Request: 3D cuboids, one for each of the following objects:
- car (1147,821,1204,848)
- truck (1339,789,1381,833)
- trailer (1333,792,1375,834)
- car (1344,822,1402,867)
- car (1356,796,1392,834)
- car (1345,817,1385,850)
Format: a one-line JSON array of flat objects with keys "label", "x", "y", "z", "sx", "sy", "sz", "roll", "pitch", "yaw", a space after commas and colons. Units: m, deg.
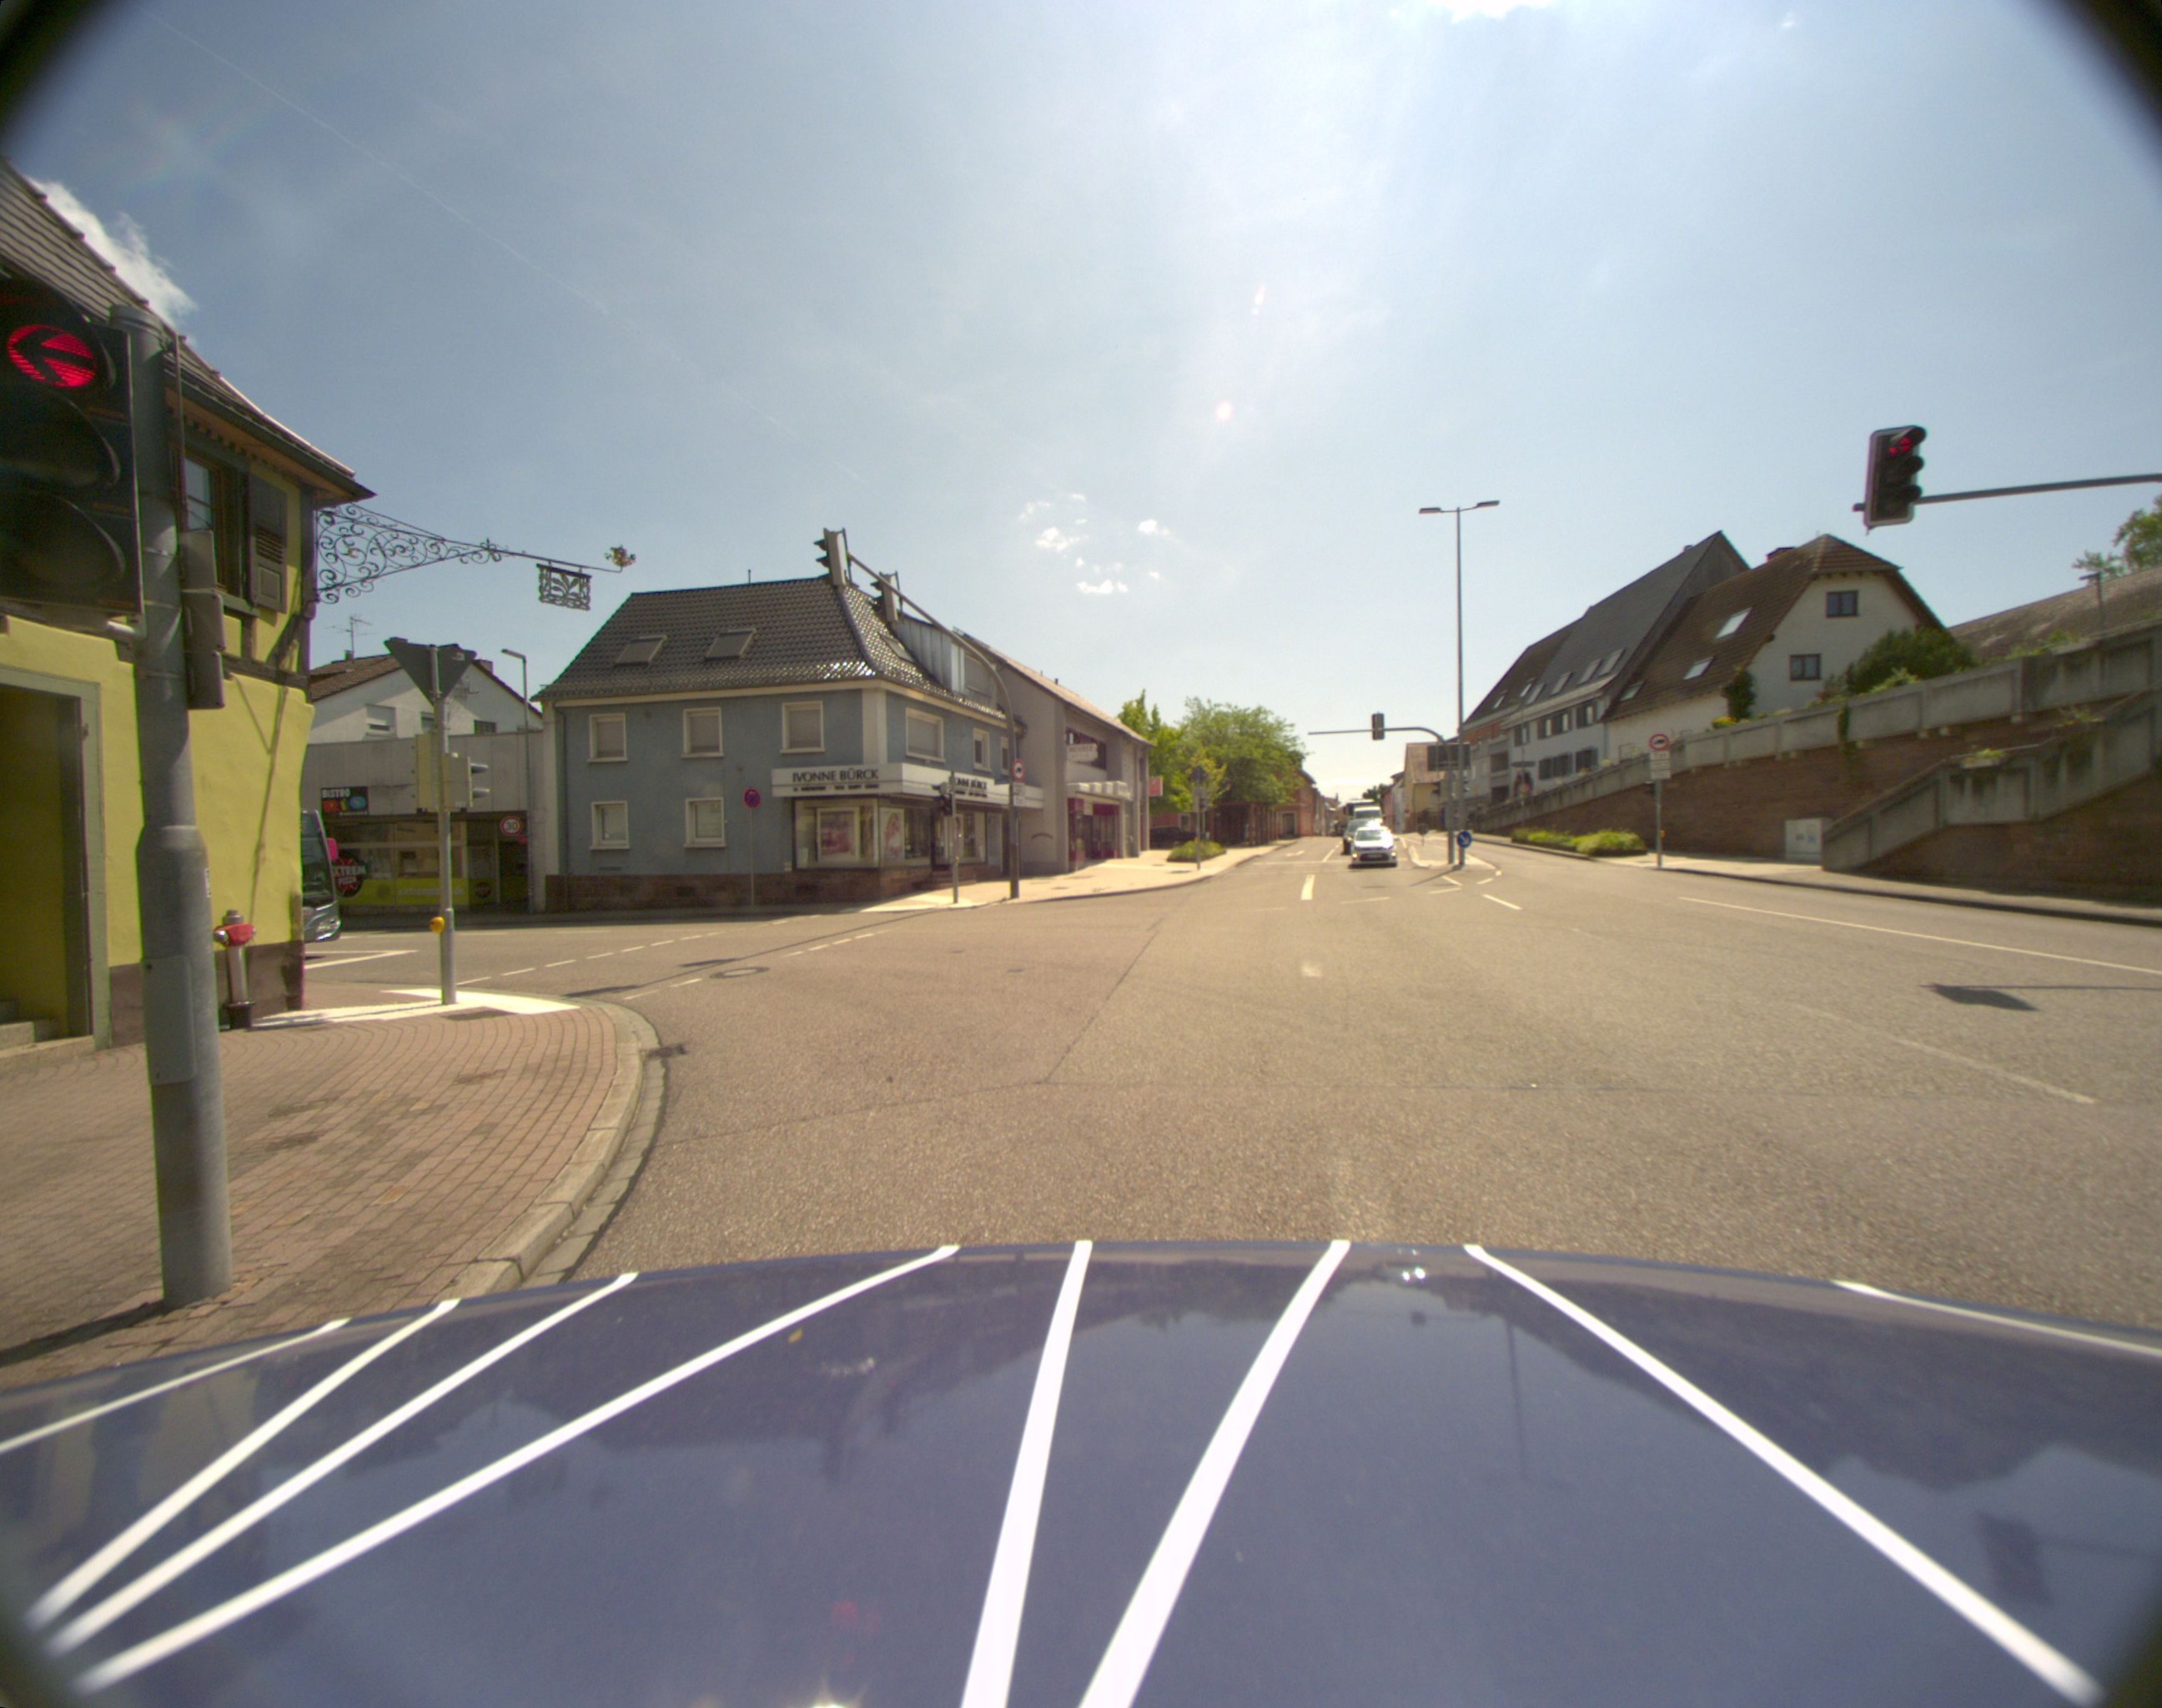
[{"label": "car", "x": 6.697, "y": -1.395, "z": 53.847, "sx": 3.756, "sy": 1.701, "sz": 1.726, "roll": -3, "pitch": 1, "yaw": 13}, {"label": "truck", "x": 24.054, "y": -3.611, "z": 65.665, "sx": 2.845, "sy": 3.550, "sz": 5.473, "roll": -1, "pitch": 1, "yaw": 15}, {"label": "trailer", "x": 25.813, "y": -3.774, "z": 72.343, "sx": 2.834, "sy": 3.549, "sz": 10.976, "roll": -1, "pitch": 1, "yaw": 15}, {"label": "car", "x": 11.204, "y": -0.390, "z": 29.370, "sx": 1.722, "sy": 1.542, "sz": 4.307, "roll": -3, "pitch": 1, "yaw": 16}, {"label": "car", "x": 21.310, "y": -2.798, "z": 55.446, "sx": 2.172, "sy": 2.549, "sz": 4.830, "roll": -1, "pitch": 1, "yaw": 19}, {"label": "car", "x": 14.886, "y": -1.095, "z": 39.718, "sx": 1.722, "sy": 1.542, "sz": 4.309, "roll": -2, "pitch": 1, "yaw": 22}]
